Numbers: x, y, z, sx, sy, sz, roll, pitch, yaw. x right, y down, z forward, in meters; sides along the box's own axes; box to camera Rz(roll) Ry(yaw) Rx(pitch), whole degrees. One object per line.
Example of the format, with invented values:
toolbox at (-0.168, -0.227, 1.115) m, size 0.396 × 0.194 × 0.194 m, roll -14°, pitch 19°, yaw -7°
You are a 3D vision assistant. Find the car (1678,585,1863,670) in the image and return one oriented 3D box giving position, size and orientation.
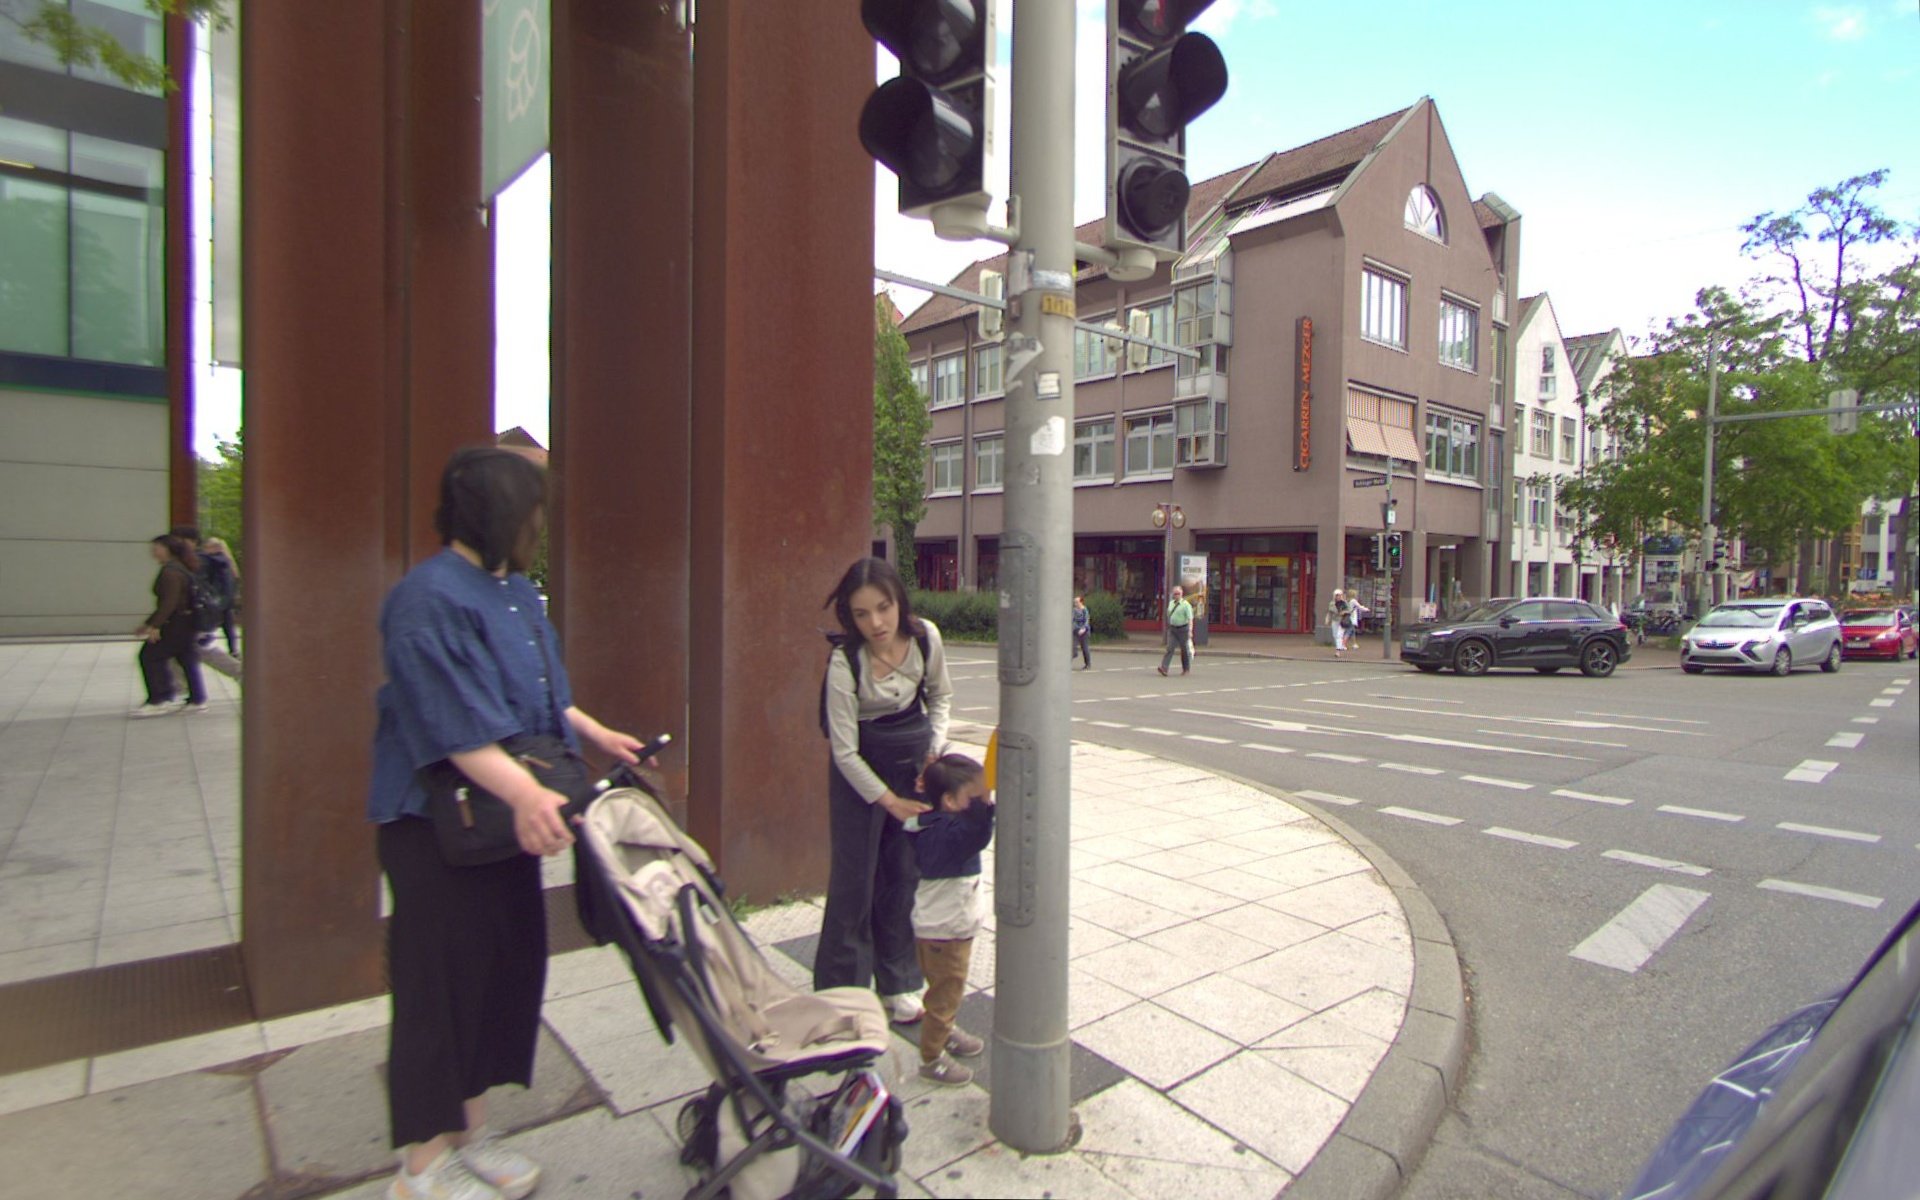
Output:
car at (17.950, 0.556, 22.380) m, size 4.293 × 1.722 × 1.746 m, roll 0°, pitch -1°, yaw -30°

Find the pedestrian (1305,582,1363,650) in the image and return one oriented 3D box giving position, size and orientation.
pedestrian at (9.395, 0.397, 25.463) m, size 0.796 × 1.646 × 1.092 m, roll 1°, pitch 1°, yaw -39°

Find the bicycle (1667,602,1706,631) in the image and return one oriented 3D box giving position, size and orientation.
bicycle at (28.161, 0.613, 39.254) m, size 0.399 × 1.061 × 1.568 m, roll 1°, pitch 1°, yaw 3°

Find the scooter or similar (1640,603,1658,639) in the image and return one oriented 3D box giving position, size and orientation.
scooter or similar at (22.897, 0.675, 33.639) m, size 0.468 × 1.101 × 1.865 m, roll 2°, pitch 2°, yaw 34°

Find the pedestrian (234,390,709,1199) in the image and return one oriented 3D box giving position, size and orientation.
pedestrian at (-0.983, 0.459, 2.256) m, size 0.667 × 1.667 × 0.873 m, roll 1°, pitch 0°, yaw -4°

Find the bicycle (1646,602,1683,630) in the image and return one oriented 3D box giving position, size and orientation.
bicycle at (27.593, 0.620, 39.635) m, size 0.399 × 1.061 × 1.568 m, roll 1°, pitch 1°, yaw 3°

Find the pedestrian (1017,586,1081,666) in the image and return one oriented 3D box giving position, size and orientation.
pedestrian at (1.854, 0.517, 21.074) m, size 1.040 × 1.604 × 0.831 m, roll 0°, pitch 1°, yaw -42°

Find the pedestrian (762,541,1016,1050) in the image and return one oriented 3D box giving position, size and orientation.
pedestrian at (-0.240, 0.548, 3.275) m, size 0.571 × 1.438 × 0.603 m, roll 1°, pitch 0°, yaw -36°

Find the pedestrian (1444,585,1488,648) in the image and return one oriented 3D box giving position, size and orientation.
pedestrian at (13.577, 0.434, 27.145) m, size 0.937 × 1.646 × 0.742 m, roll 0°, pitch 1°, yaw -42°

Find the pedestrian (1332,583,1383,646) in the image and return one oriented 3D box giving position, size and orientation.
pedestrian at (10.510, 0.363, 26.776) m, size 1.020 × 1.615 × 0.824 m, roll 0°, pitch 1°, yaw -37°

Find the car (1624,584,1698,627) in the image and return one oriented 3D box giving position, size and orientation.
car at (31.444, 0.215, 45.359) m, size 4.187 × 1.826 × 1.737 m, roll 0°, pitch 2°, yaw -41°

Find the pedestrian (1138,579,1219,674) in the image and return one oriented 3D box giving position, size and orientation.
pedestrian at (4.170, 0.482, 19.351) m, size 1.090 × 1.737 × 1.058 m, roll 0°, pitch 1°, yaw -39°

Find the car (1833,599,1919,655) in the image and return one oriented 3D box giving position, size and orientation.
car at (26.101, 0.721, 28.518) m, size 3.576 × 1.467 × 1.630 m, roll 0°, pitch -1°, yaw -39°

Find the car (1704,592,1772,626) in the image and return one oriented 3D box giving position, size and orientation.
car at (40.356, 0.435, 52.456) m, size 4.673 × 1.566 × 1.997 m, roll -1°, pitch 3°, yaw -42°

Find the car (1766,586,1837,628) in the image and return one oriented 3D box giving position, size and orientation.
car at (41.929, 0.287, 50.401) m, size 4.671 × 1.899 × 1.997 m, roll -1°, pitch 3°, yaw -41°

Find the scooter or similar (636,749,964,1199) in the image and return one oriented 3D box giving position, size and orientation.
scooter or similar at (-0.329, 0.867, 2.231) m, size 0.608 × 0.973 × 0.635 m, roll 1°, pitch 1°, yaw -5°

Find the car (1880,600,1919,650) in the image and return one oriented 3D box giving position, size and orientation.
car at (31.128, 0.770, 32.537) m, size 3.930 × 1.549 × 1.800 m, roll 0°, pitch -1°, yaw -41°

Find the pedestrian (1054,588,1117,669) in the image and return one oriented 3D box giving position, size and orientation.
pedestrian at (2.534, 0.558, 20.453) m, size 0.952 × 1.578 × 0.832 m, roll 0°, pitch 1°, yaw -40°

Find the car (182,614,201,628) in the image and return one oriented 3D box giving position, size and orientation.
car at (-91.273, 2.504, 120.127) m, size 1.694 × 1.620 × 3.737 m, roll 2°, pitch -2°, yaw -38°

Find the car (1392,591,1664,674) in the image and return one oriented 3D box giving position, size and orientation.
car at (11.777, 0.637, 21.118) m, size 4.762 × 1.630 × 1.859 m, roll 0°, pitch -1°, yaw -8°

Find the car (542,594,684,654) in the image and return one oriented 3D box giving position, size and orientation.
car at (-9.088, 0.560, 26.322) m, size 1.771 × 1.422 × 4.538 m, roll 0°, pitch 0°, yaw -44°

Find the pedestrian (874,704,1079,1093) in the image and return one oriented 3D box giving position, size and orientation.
pedestrian at (0.045, 0.796, 2.880) m, size 0.446 × 0.935 × 0.363 m, roll 1°, pitch 0°, yaw -36°

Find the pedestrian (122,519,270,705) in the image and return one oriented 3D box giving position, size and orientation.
pedestrian at (-7.524, 0.097, 9.974) m, size 1.101 × 1.702 × 0.880 m, roll 0°, pitch 1°, yaw -41°

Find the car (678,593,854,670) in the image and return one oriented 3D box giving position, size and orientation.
car at (-4.114, 0.580, 21.048) m, size 1.769 × 1.422 × 4.180 m, roll 0°, pitch 0°, yaw -41°

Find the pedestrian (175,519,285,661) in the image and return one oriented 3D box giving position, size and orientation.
pedestrian at (-9.703, -0.133, 13.451) m, size 1.101 × 1.789 × 0.880 m, roll 0°, pitch 1°, yaw -41°

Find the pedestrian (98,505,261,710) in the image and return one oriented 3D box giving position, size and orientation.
pedestrian at (-6.999, 0.048, 9.079) m, size 1.101 × 1.702 × 0.880 m, roll 0°, pitch 1°, yaw -41°

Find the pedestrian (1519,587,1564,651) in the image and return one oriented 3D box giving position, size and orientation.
pedestrian at (15.286, 0.490, 26.622) m, size 0.937 × 1.646 × 0.742 m, roll 0°, pitch 1°, yaw -42°
